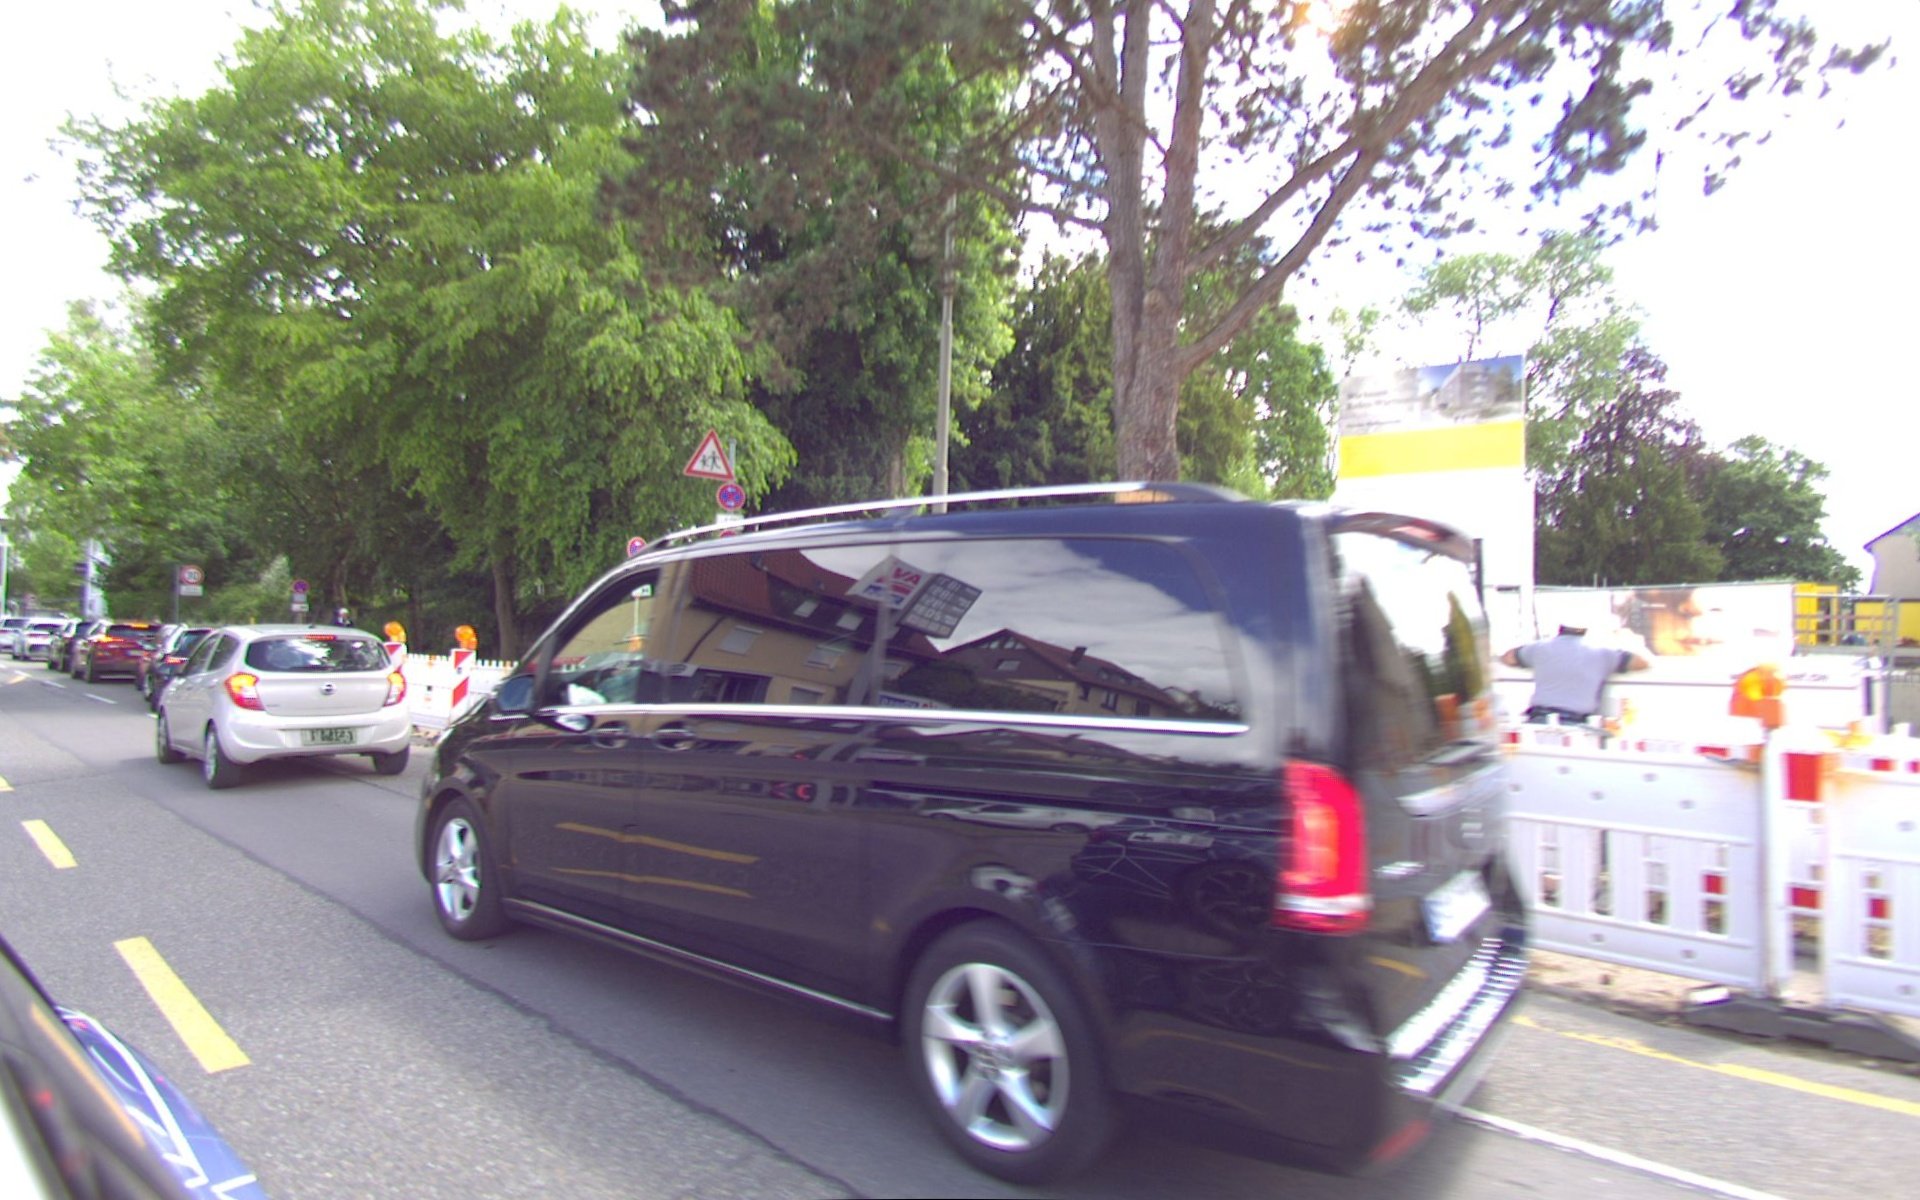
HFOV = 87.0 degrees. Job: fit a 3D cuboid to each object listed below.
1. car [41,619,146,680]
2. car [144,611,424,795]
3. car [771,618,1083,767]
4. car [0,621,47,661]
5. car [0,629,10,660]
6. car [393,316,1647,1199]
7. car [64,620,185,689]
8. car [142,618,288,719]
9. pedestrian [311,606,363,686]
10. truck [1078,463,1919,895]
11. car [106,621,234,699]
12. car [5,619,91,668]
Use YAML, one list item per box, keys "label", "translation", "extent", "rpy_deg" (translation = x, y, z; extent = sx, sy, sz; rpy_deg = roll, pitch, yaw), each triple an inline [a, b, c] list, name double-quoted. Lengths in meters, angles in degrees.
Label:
- label: "car"
  translation: [-25.503, 1.417, 29.762]
  extent: [3.968, 1.603, 1.738]
  rpy_deg: [0, -3, 41]
- label: "car"
  translation: [-6.979, 0.949, 10.326]
  extent: [3.570, 1.535, 1.596]
  rpy_deg: [-2, -4, 44]
- label: "car"
  translation: [-0.473, 0.977, 12.105]
  extent: [3.580, 1.519, 1.607]
  rpy_deg: [-1, -2, 40]
- label: "car"
  translation: [-42.250, 1.800, 45.130]
  extent: [4.161, 1.603, 1.738]
  rpy_deg: [0, -4, 41]
- label: "car"
  translation: [-54.006, 2.404, 55.876]
  extent: [4.161, 1.603, 1.738]
  rpy_deg: [0, -4, 41]
- label: "car"
  translation: [-0.280, 0.555, 4.115]
  extent: [4.910, 1.967, 1.889]
  rpy_deg: [-1, -4, 40]
- label: "car"
  translation: [-21.144, 1.338, 25.559]
  extent: [4.001, 1.568, 1.757]
  rpy_deg: [0, -4, 43]
- label: "car"
  translation: [-13.376, 1.136, 18.059]
  extent: [1.796, 1.535, 4.568]
  rpy_deg: [3, -3, -39]
- label: "pedestrian"
  translation: [-14.975, 1.089, 24.333]
  extent: [1.022, 1.861, 0.824]
  rpy_deg: [0, -1, 45]
- label: "truck"
  translation: [4.137, 0.462, 8.477]
  extent: [6.093, 2.438, 2.281]
  rpy_deg: [0, -1, 43]
- label: "car"
  translation: [-17.182, 1.269, 21.971]
  extent: [3.570, 1.535, 1.597]
  rpy_deg: [-1, -4, 43]
- label: "car"
  translation: [-33.033, 1.558, 36.623]
  extent: [4.002, 1.603, 1.738]
  rpy_deg: [0, -4, 41]
